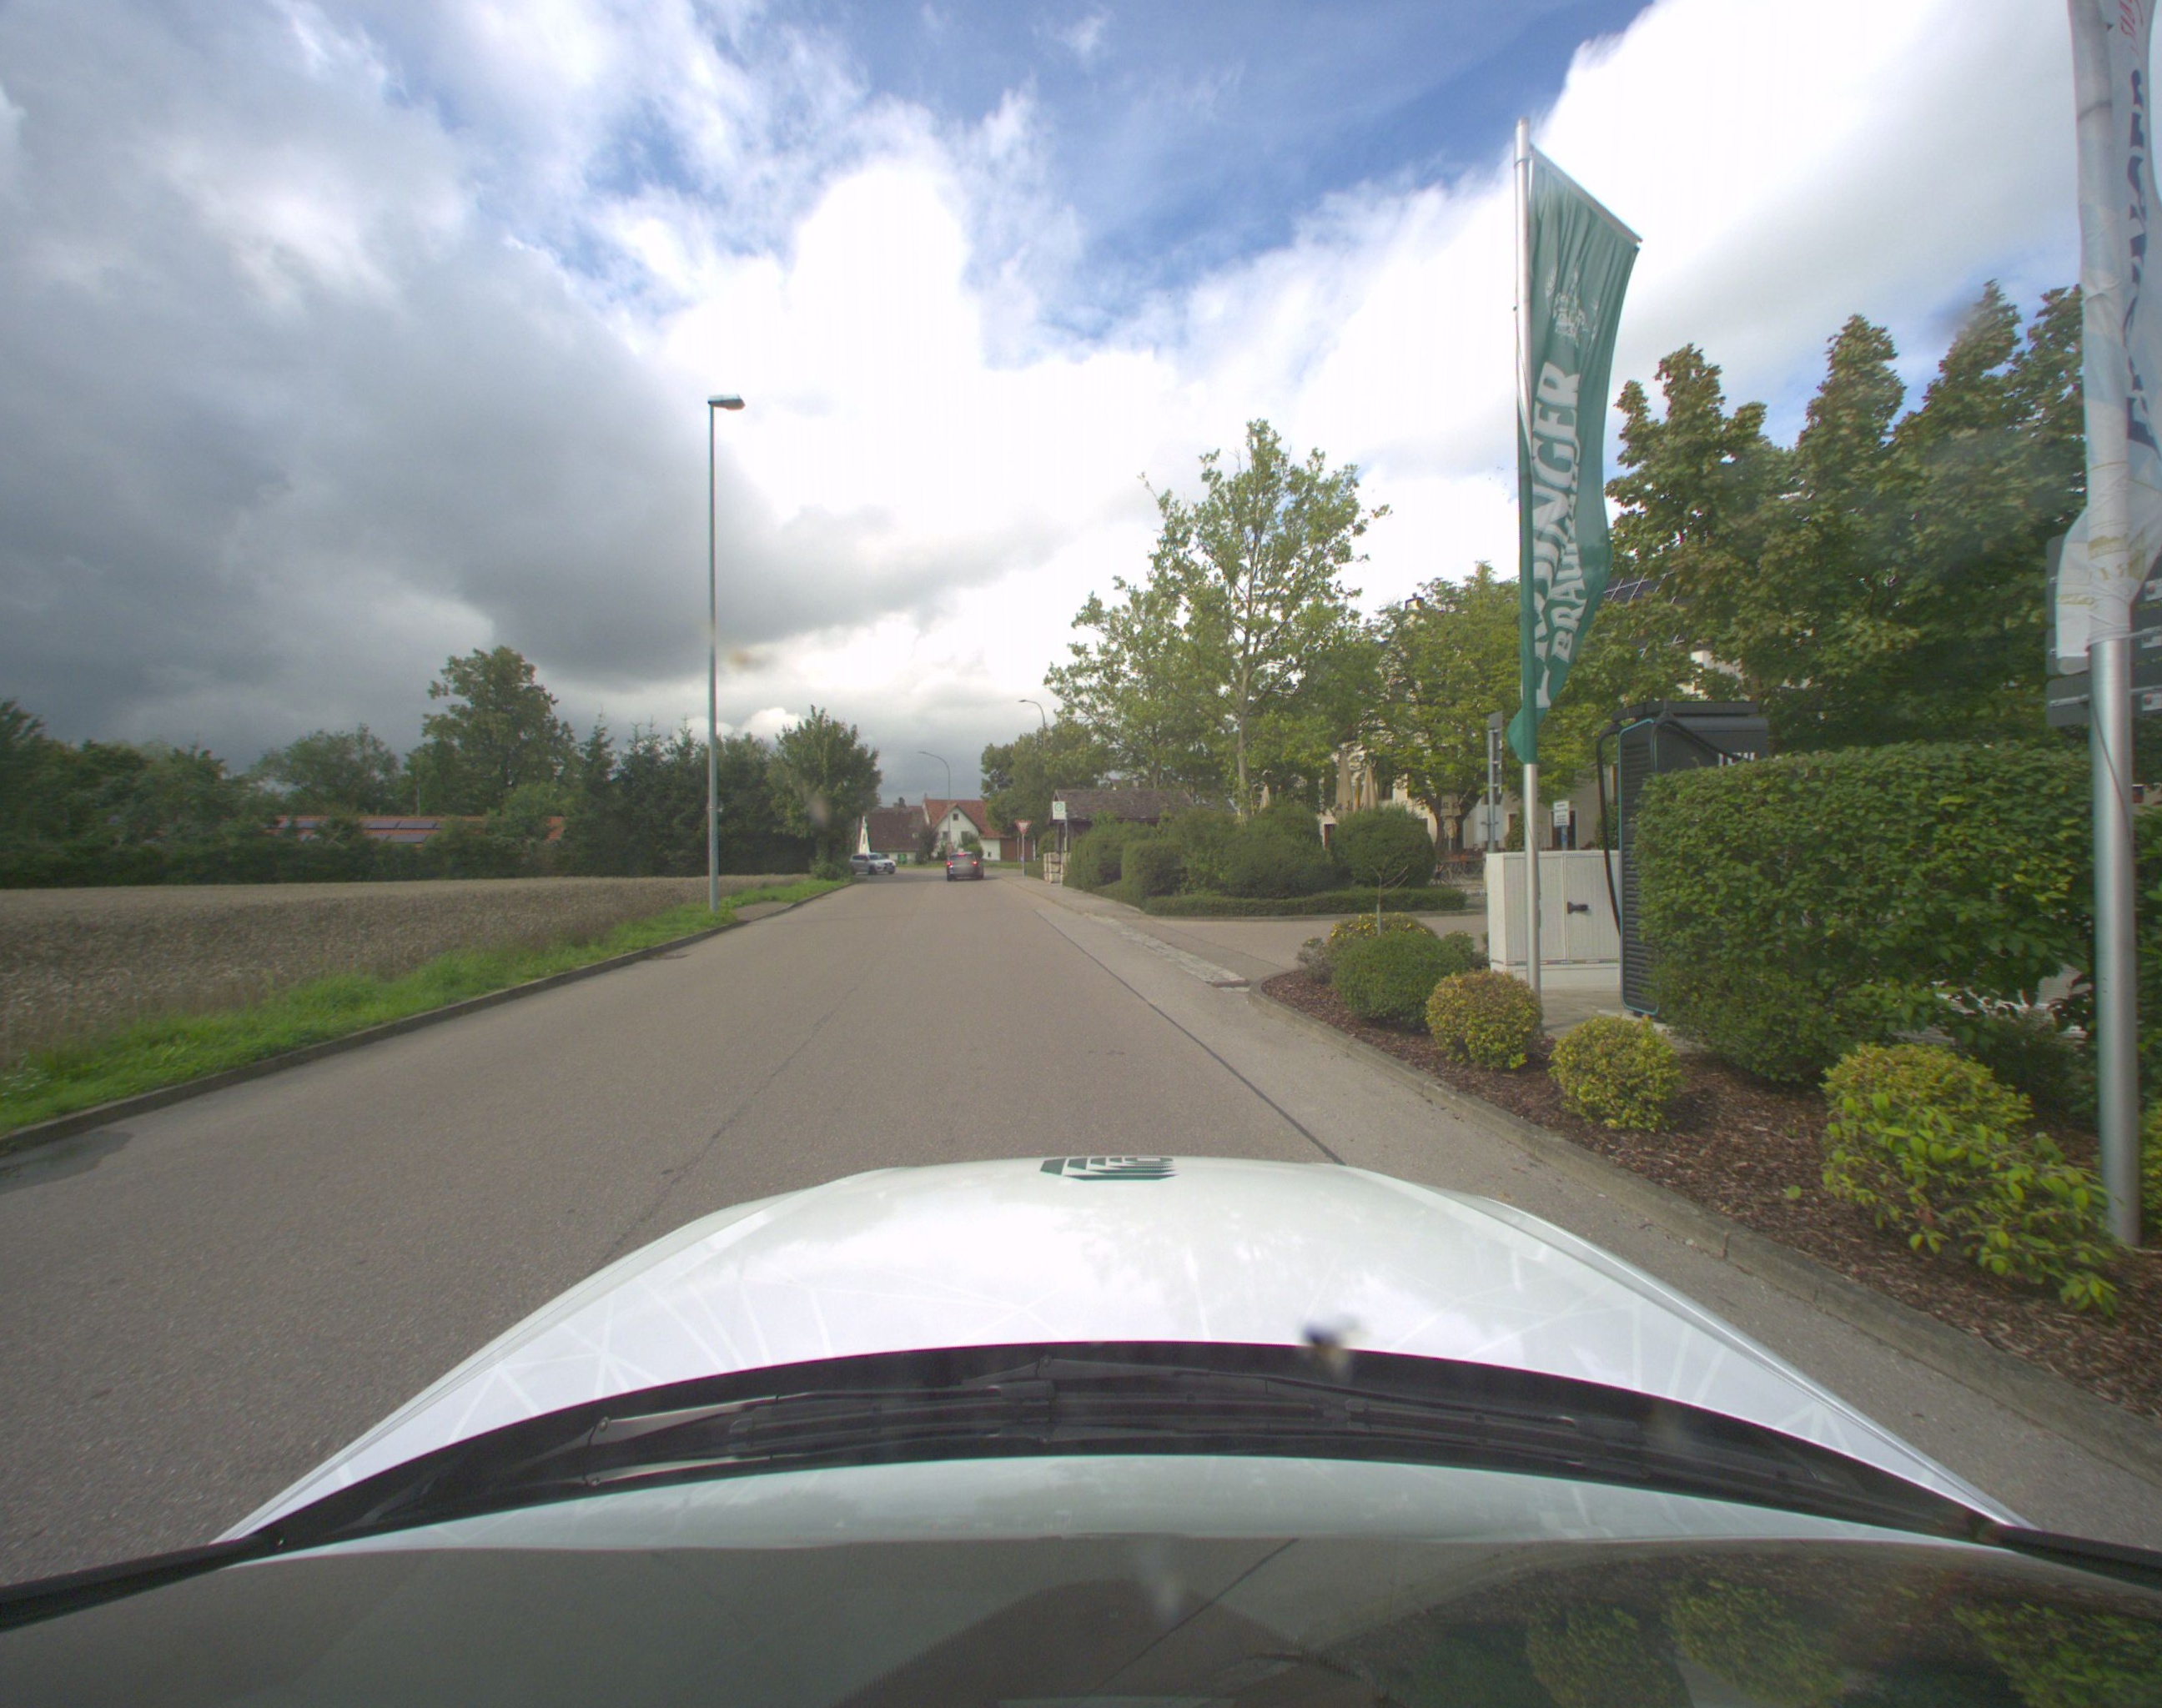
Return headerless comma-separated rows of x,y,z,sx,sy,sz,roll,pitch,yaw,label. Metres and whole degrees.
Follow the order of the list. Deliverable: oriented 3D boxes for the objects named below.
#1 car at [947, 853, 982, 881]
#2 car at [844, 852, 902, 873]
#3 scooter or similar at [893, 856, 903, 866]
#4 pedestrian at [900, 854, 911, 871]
-6.527,0.685,45.344,1.799,1.462,3.650,-1,0,-10,car
-15.282,0.635,59.865,3.939,1.515,1.816,0,0,29,car
-18.212,0.722,81.003,0.636,0.948,0.615,5,-4,-42,scooter or similar
-17.407,0.812,80.781,0.795,1.665,0.703,5,-4,-42,pedestrian
